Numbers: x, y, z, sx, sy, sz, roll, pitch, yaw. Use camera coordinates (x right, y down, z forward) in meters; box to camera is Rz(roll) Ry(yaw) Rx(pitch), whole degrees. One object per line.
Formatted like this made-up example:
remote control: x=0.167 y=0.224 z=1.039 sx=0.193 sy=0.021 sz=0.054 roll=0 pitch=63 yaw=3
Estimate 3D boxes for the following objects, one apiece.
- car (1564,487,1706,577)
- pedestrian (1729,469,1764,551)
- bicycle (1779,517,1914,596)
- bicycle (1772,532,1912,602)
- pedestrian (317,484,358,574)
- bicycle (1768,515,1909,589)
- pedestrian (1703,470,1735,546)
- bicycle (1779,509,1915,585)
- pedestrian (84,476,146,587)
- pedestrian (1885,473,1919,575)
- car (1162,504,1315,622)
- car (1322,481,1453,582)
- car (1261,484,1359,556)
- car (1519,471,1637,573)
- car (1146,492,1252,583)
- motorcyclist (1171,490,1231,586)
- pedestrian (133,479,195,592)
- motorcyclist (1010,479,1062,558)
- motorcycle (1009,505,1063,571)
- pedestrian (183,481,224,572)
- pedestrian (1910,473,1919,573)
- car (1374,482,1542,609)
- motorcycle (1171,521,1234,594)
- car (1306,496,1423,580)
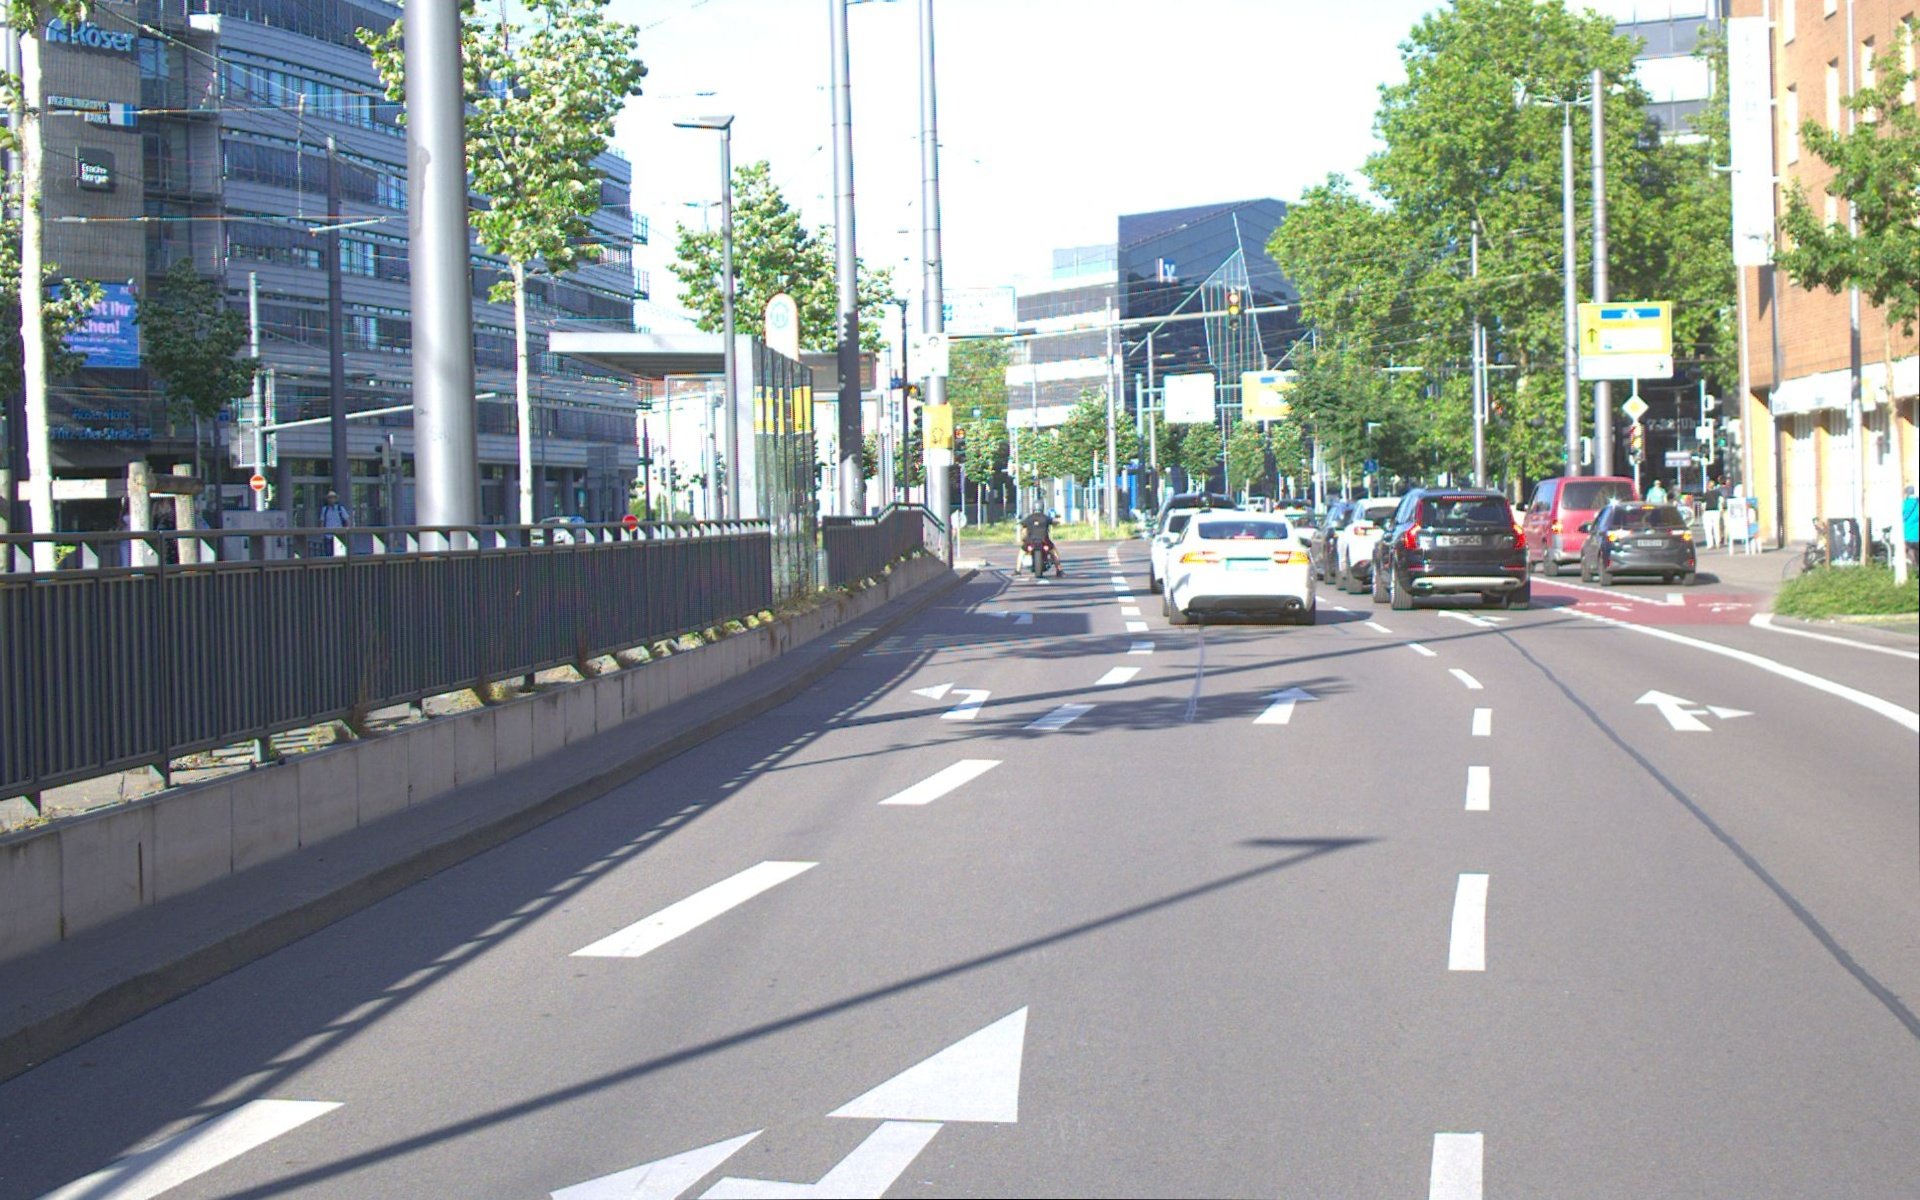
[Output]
car: x=12.224 y=-1.261 z=62.511 sx=1.847 sy=1.555 sz=4.632 roll=1 pitch=2 yaw=3
pedestrian: x=17.600 y=-2.022 z=76.937 sx=0.606 sy=1.815 sz=0.748 roll=-1 pitch=1 yaw=2
bicycle: x=13.495 y=-0.656 z=52.357 sx=1.946 sy=1.133 sz=0.490 roll=-2 pitch=1 yaw=14
bicycle: x=13.126 y=-0.491 z=51.148 sx=1.947 sy=0.966 sz=0.554 roll=-2 pitch=1 yaw=20
pedestrian: x=-12.603 y=-1.442 z=69.646 sx=0.614 sy=1.811 sz=0.897 roll=0 pitch=2 yaw=3
bicycle: x=12.936 y=-0.713 z=50.637 sx=1.947 sy=1.019 sz=0.501 roll=-2 pitch=1 yaw=20
pedestrian: x=18.323 y=-2.217 z=83.033 sx=0.606 sy=1.815 sz=0.748 roll=-1 pitch=1 yaw=2
bicycle: x=13.364 y=-0.793 z=51.840 sx=1.946 sy=1.071 sz=0.554 roll=-2 pitch=1 yaw=14
pedestrian: x=-12.383 y=-1.010 z=50.392 sx=0.640 sy=1.602 sz=0.945 roll=1 pitch=2 yaw=3
pedestrian: x=17.030 y=-1.369 z=61.773 sx=0.606 sy=1.815 sz=0.748 roll=-1 pitch=1 yaw=2
car: x=3.598 y=-0.530 z=45.110 sx=1.780 sy=1.409 sz=4.819 roll=1 pitch=2 yaw=2
car: x=7.185 y=-1.138 z=58.146 sx=1.851 sy=1.634 sz=4.378 roll=0 pitch=1 yaw=2
car: x=7.621 y=-1.772 z=75.105 sx=1.851 sy=1.492 sz=4.379 roll=0 pitch=2 yaw=2
car: x=12.365 y=-1.587 z=69.013 sx=1.860 sy=1.954 sz=4.000 roll=-1 pitch=2 yaw=4
car: x=4.096 y=-1.105 z=59.421 sx=1.693 sy=1.491 sz=4.409 roll=1 pitch=2 yaw=3
motorcyclist: x=3.765 y=-0.980 z=53.774 sx=0.837 sy=1.470 sz=1.236 roll=-1 pitch=2 yaw=1
pedestrian: x=-11.643 y=-0.948 z=50.327 sx=0.640 sy=1.637 sz=0.945 roll=1 pitch=2 yaw=3
motorcyclist: x=1.575 y=-1.685 z=70.862 sx=1.019 sy=1.598 sz=1.148 roll=1 pitch=2 yaw=3
motorcycle: x=1.573 y=-1.287 z=70.822 sx=1.019 sy=1.307 sz=2.914 roll=1 pitch=2 yaw=3
pedestrian: x=-13.490 y=-1.312 z=61.340 sx=0.563 sy=1.603 sz=0.616 roll=0 pitch=2 yaw=3
pedestrian: x=17.757 y=-1.409 z=62.764 sx=0.606 sy=1.815 sz=0.748 roll=-1 pitch=1 yaw=2
car: x=7.267 y=-0.846 z=50.531 sx=1.975 sy=1.753 sz=4.632 roll=1 pitch=2 yaw=3
motorcycle: x=3.783 y=-0.680 z=53.819 sx=0.837 sy=1.058 sz=2.553 roll=-1 pitch=2 yaw=1
car: x=7.595 y=-1.200 z=64.910 sx=1.851 sy=1.492 sz=4.379 roll=0 pitch=2 yaw=2
